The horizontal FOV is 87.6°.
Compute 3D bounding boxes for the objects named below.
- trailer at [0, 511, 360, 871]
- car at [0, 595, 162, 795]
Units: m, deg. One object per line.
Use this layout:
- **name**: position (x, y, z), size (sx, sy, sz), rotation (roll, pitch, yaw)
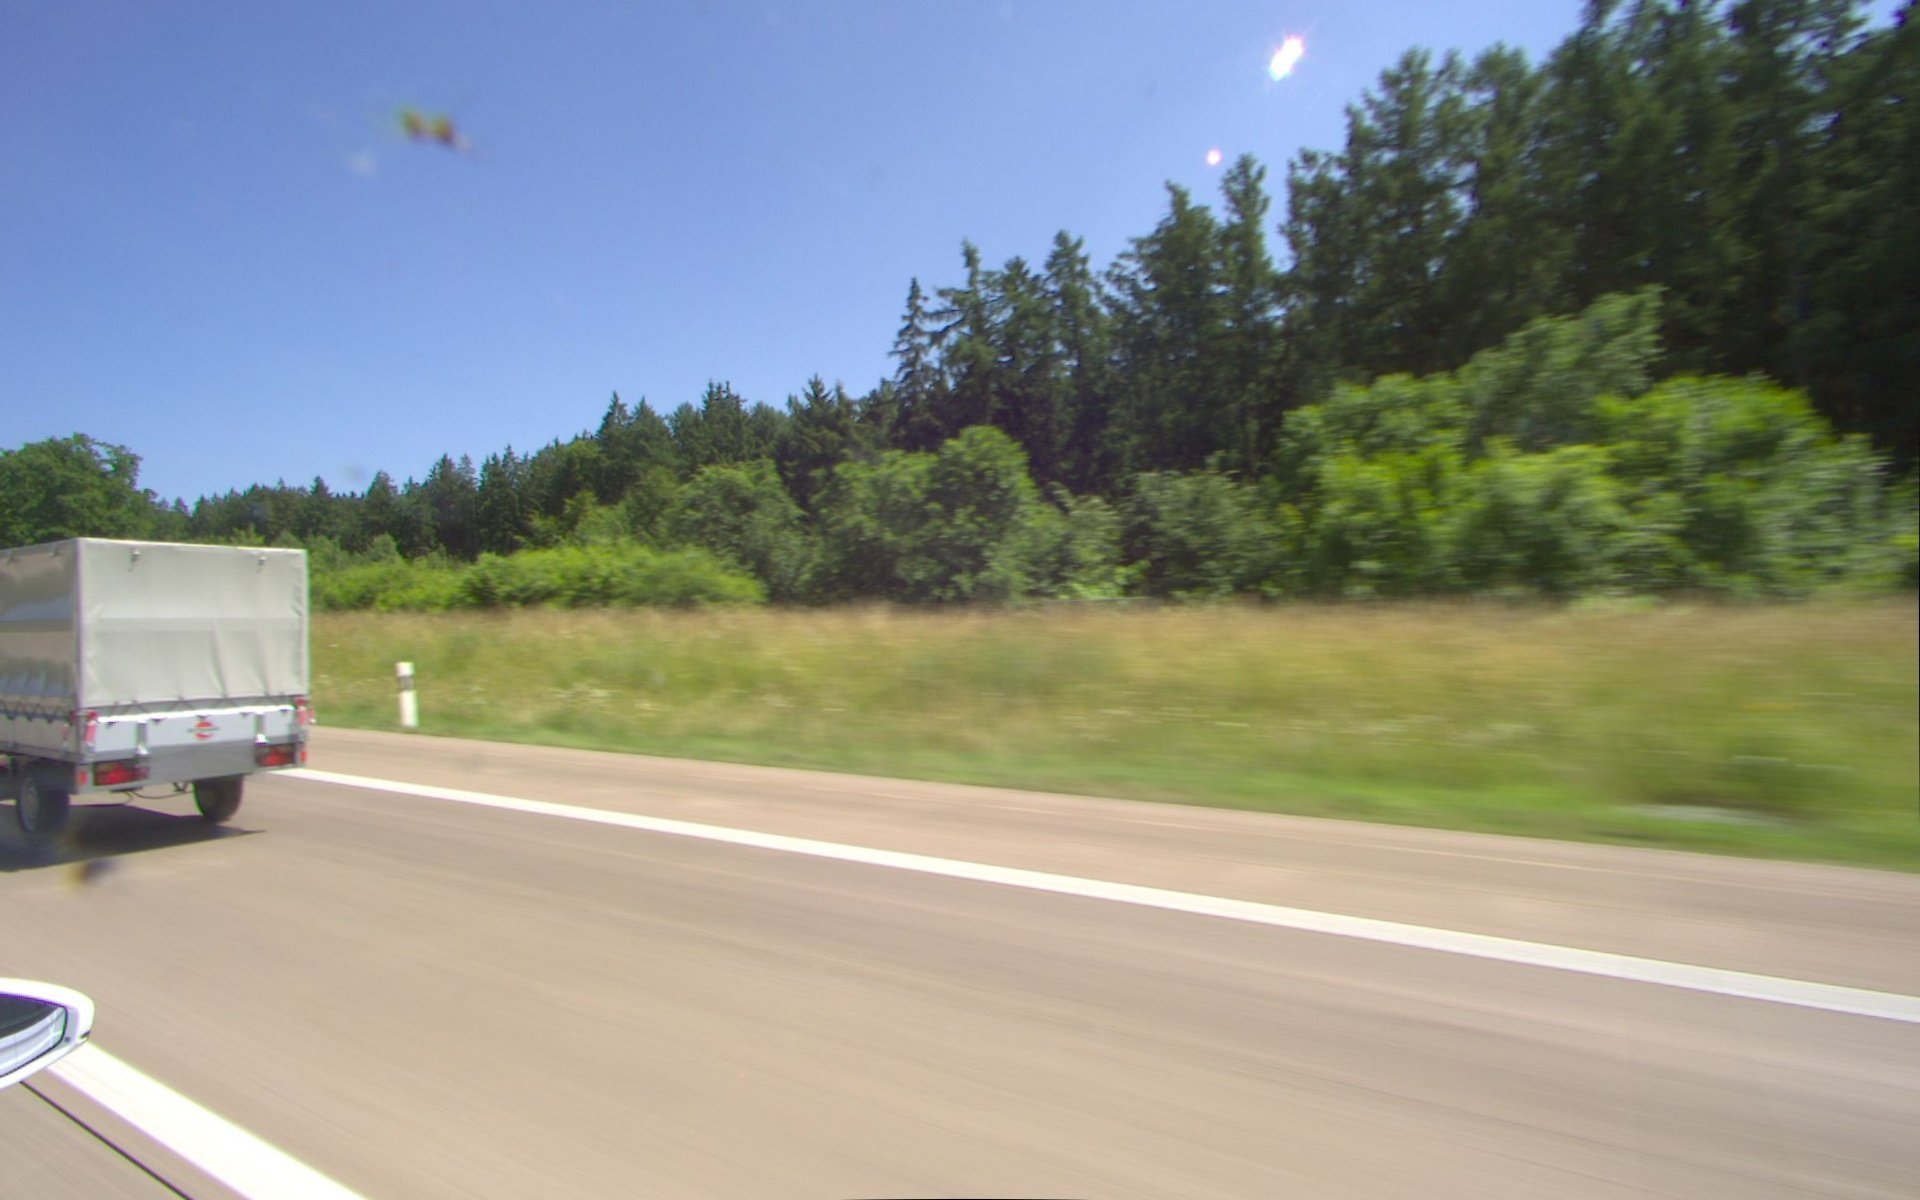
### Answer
- **trailer**: position (-6.612, 0.608, 7.878), size (3.959, 2.192, 1.654), rotation (-1, -1, 32)
- **car**: position (-10.445, 0.878, 10.278), size (5.110, 1.750, 1.888), rotation (-1, -1, 31)
